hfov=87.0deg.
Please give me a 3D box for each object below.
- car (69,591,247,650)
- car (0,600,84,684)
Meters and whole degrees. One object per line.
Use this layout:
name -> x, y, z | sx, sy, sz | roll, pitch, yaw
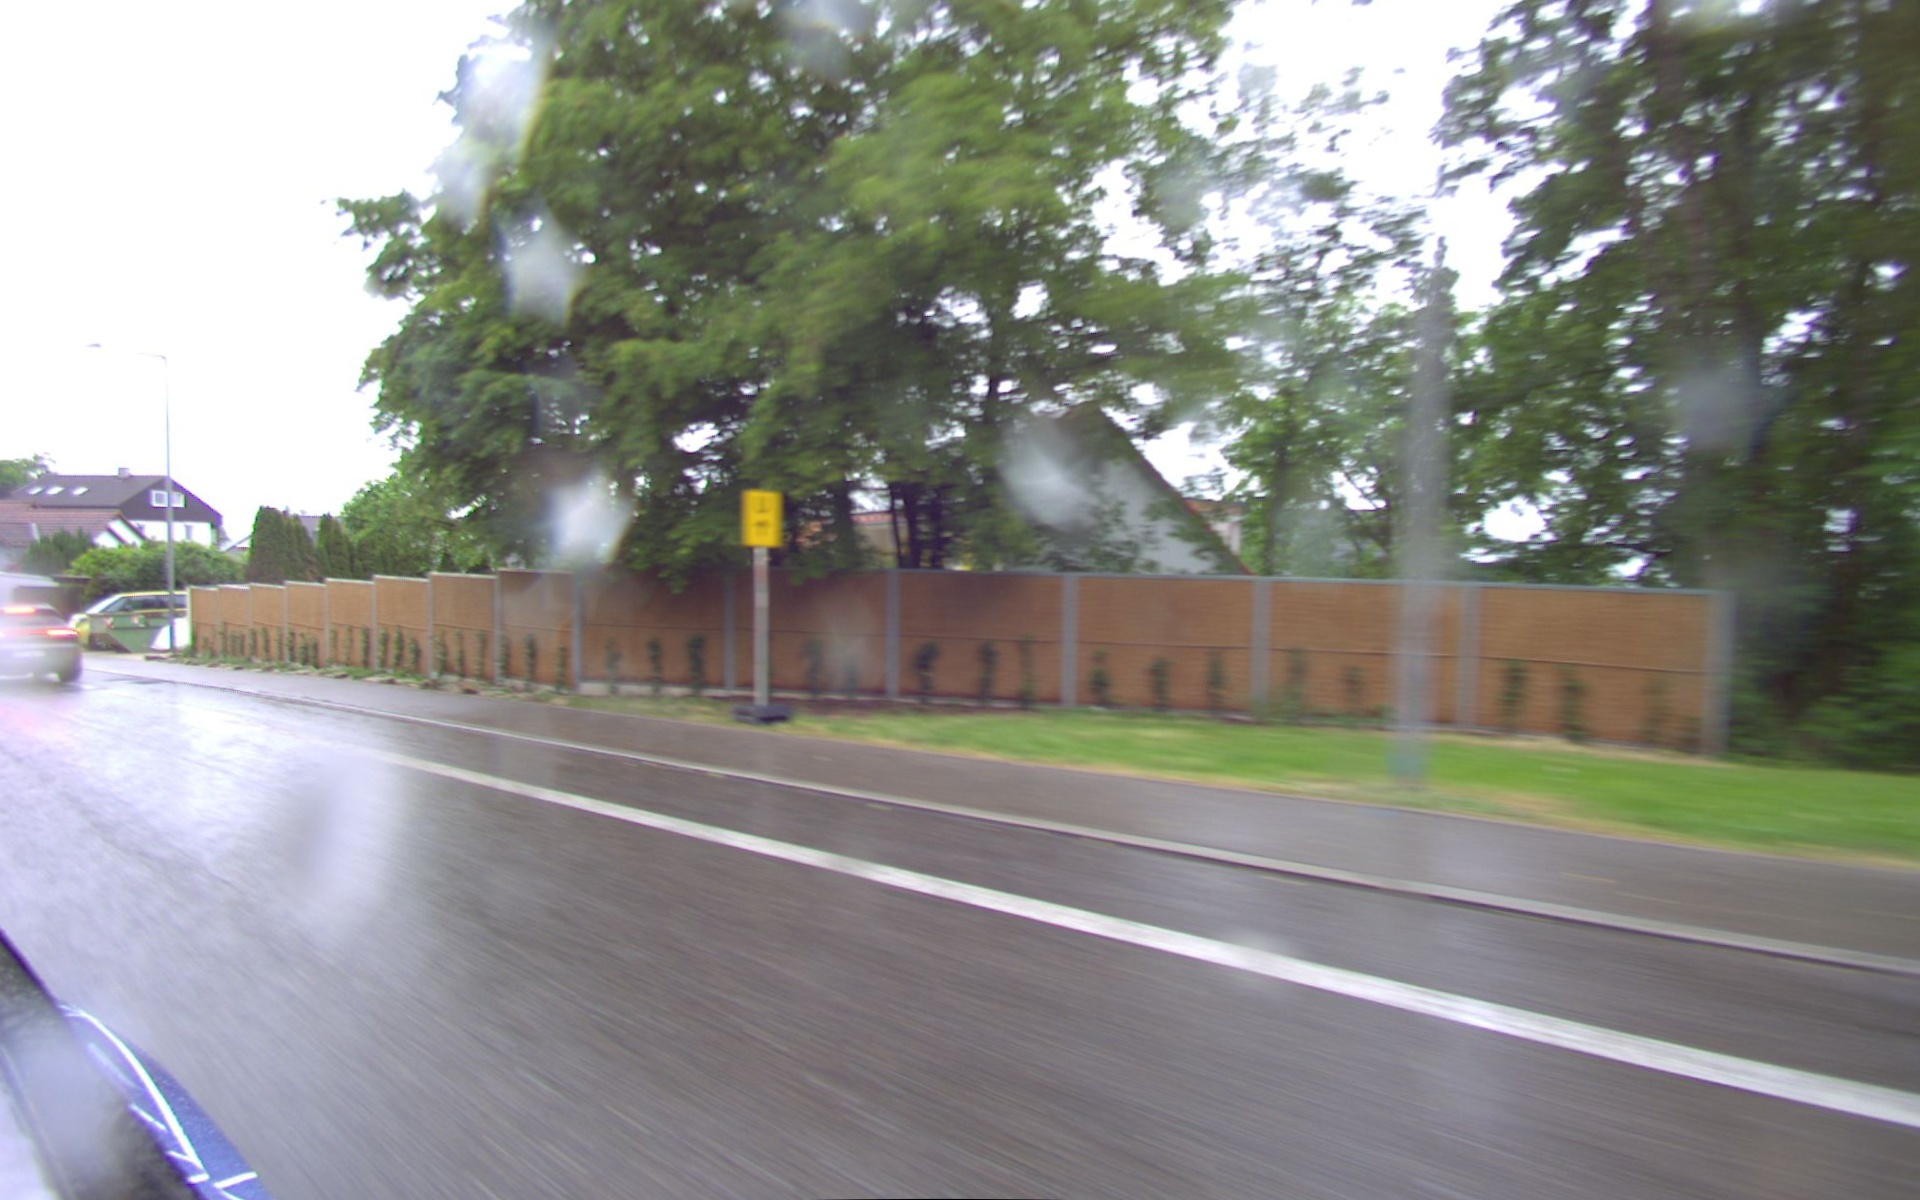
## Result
car -> -27.575, 0.671, 34.924 | 2.086, 1.874, 4.460 | -1, 0, 38
car -> -20.500, 0.854, 21.617 | 4.540, 1.660, 1.900 | -1, 0, 38
